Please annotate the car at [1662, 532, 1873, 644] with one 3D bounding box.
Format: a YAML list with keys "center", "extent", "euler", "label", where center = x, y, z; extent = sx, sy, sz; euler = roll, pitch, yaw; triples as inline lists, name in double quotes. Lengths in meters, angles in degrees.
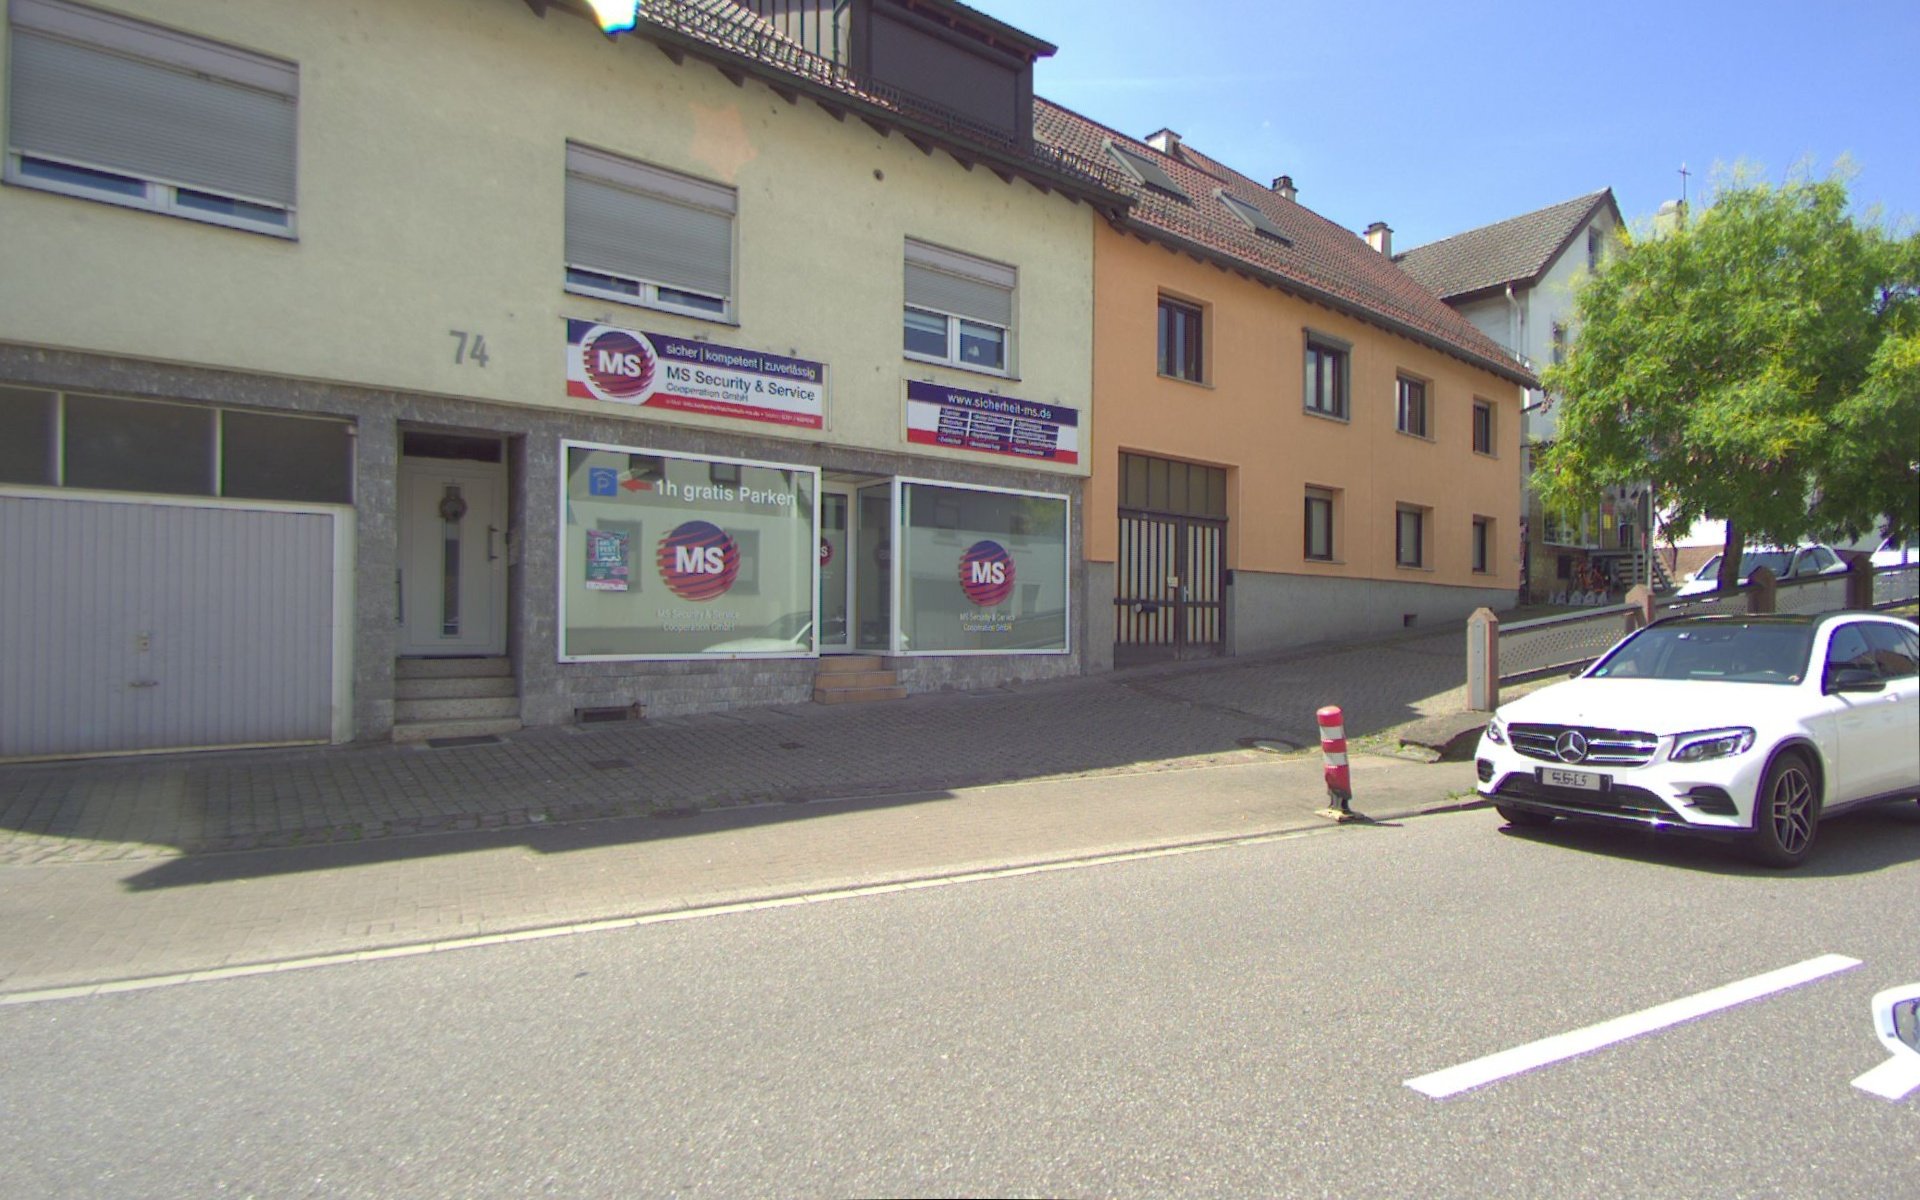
- center: [14.074, -0.244, 17.463]
  extent: [3.812, 1.564, 1.684]
  euler: [-6, 3, -32]
  label: "car"

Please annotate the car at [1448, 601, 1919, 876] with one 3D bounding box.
- center: [5.987, 0.865, 7.736]
  extent: [4.391, 1.601, 1.835]
  euler: [1, -2, -29]
  label: "car"

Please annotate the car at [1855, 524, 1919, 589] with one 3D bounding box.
- center: [23.668, -1.133, 24.627]
  extent: [3.812, 1.380, 1.568]
  euler: [-6, 3, -32]
  label: "car"
